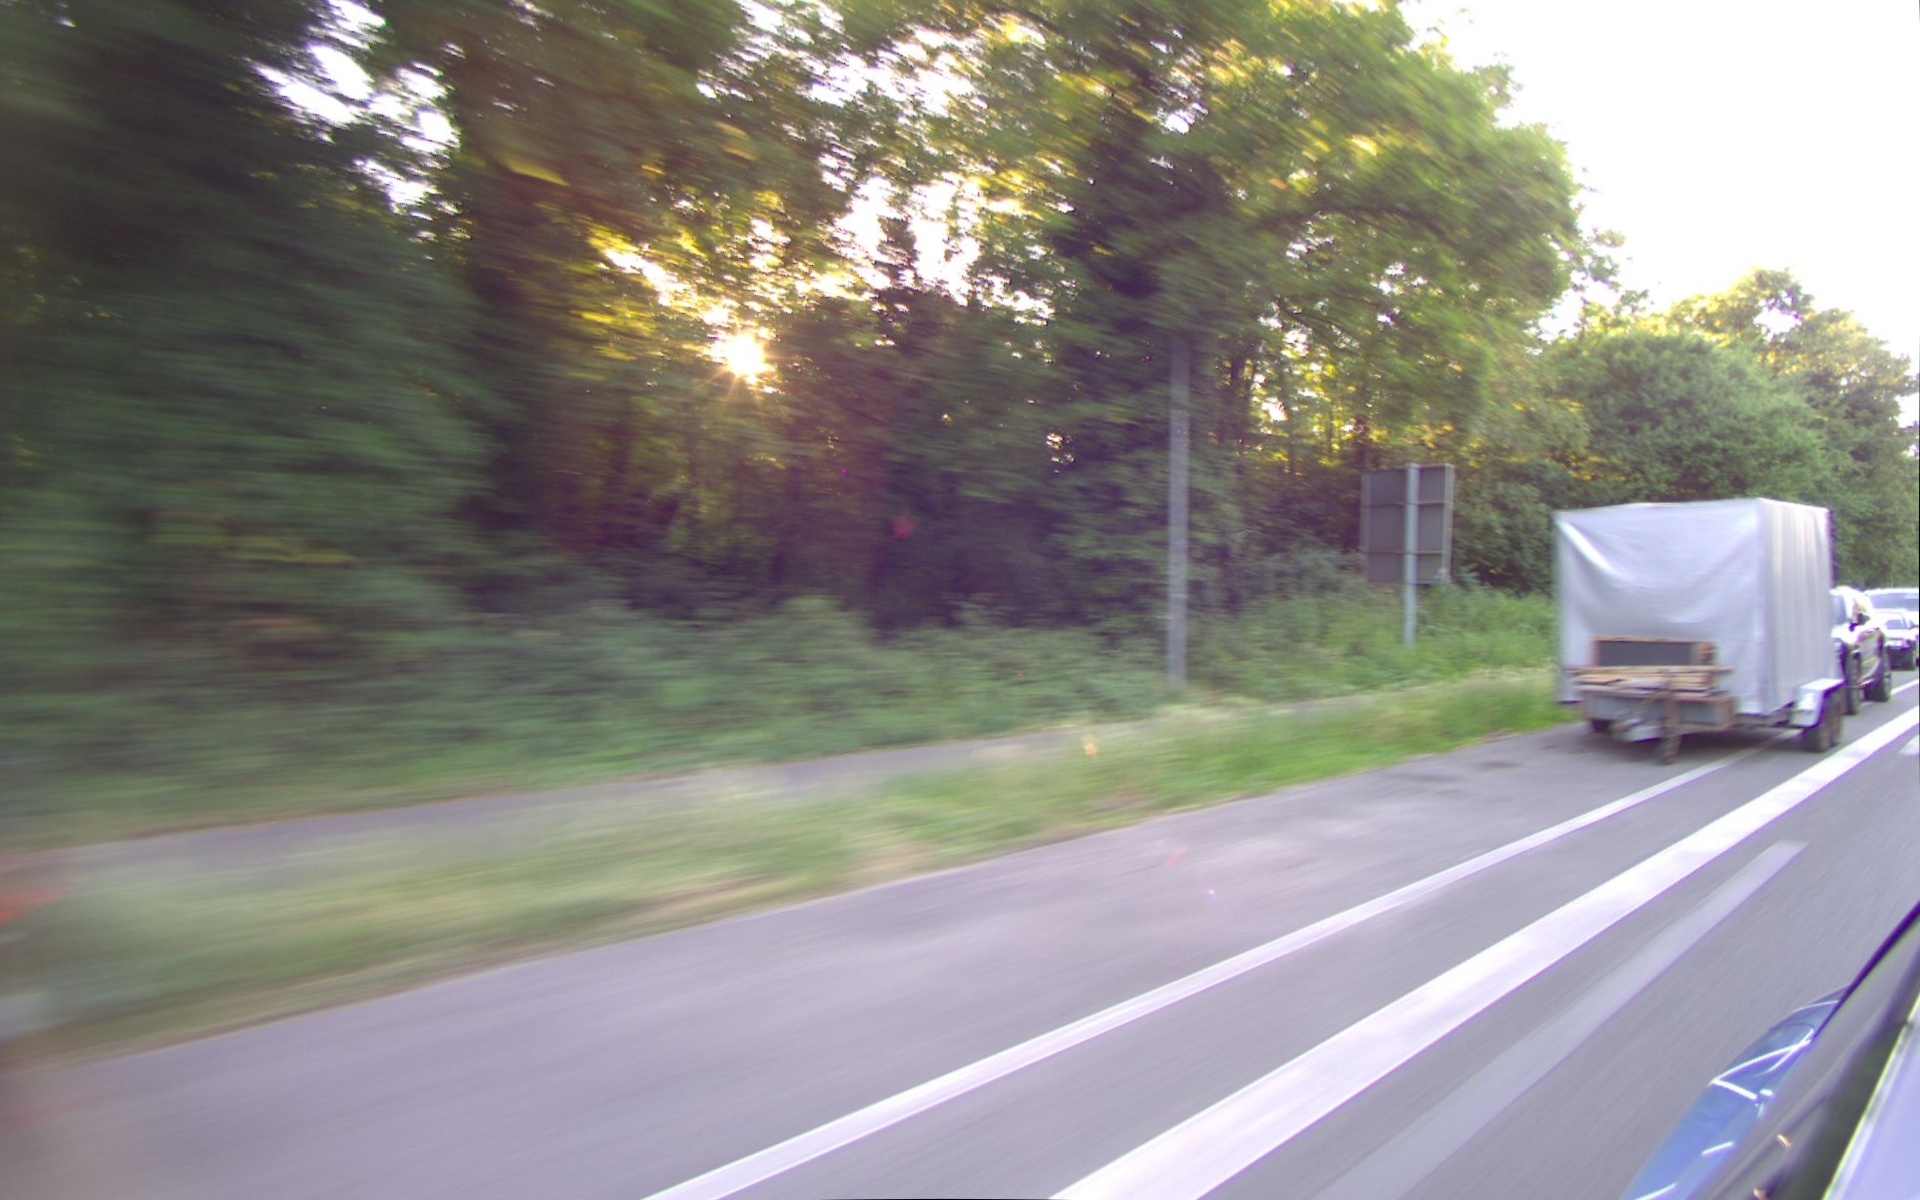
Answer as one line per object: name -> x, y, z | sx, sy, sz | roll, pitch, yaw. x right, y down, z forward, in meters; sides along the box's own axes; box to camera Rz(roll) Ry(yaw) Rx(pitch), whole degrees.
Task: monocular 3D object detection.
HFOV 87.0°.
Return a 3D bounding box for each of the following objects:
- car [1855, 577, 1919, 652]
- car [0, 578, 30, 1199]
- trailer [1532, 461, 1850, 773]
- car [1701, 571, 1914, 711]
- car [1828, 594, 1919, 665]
car -> 26.430, 0.379, 27.969 | 4.123, 1.943, 1.975 | 0, 2, -41
car -> -3.958, 0.716, 0.987 | 4.456, 1.495, 1.605 | 0, 0, -42
trailer -> 7.906, 0.118, 10.800 | 4.196, 2.682, 1.864 | -1, 0, -41
car -> 12.594, 0.504, 14.958 | 4.123, 1.762, 1.754 | 0, 2, -41
car -> 22.310, 0.642, 24.285 | 4.123, 1.533, 1.631 | 0, 2, -41
